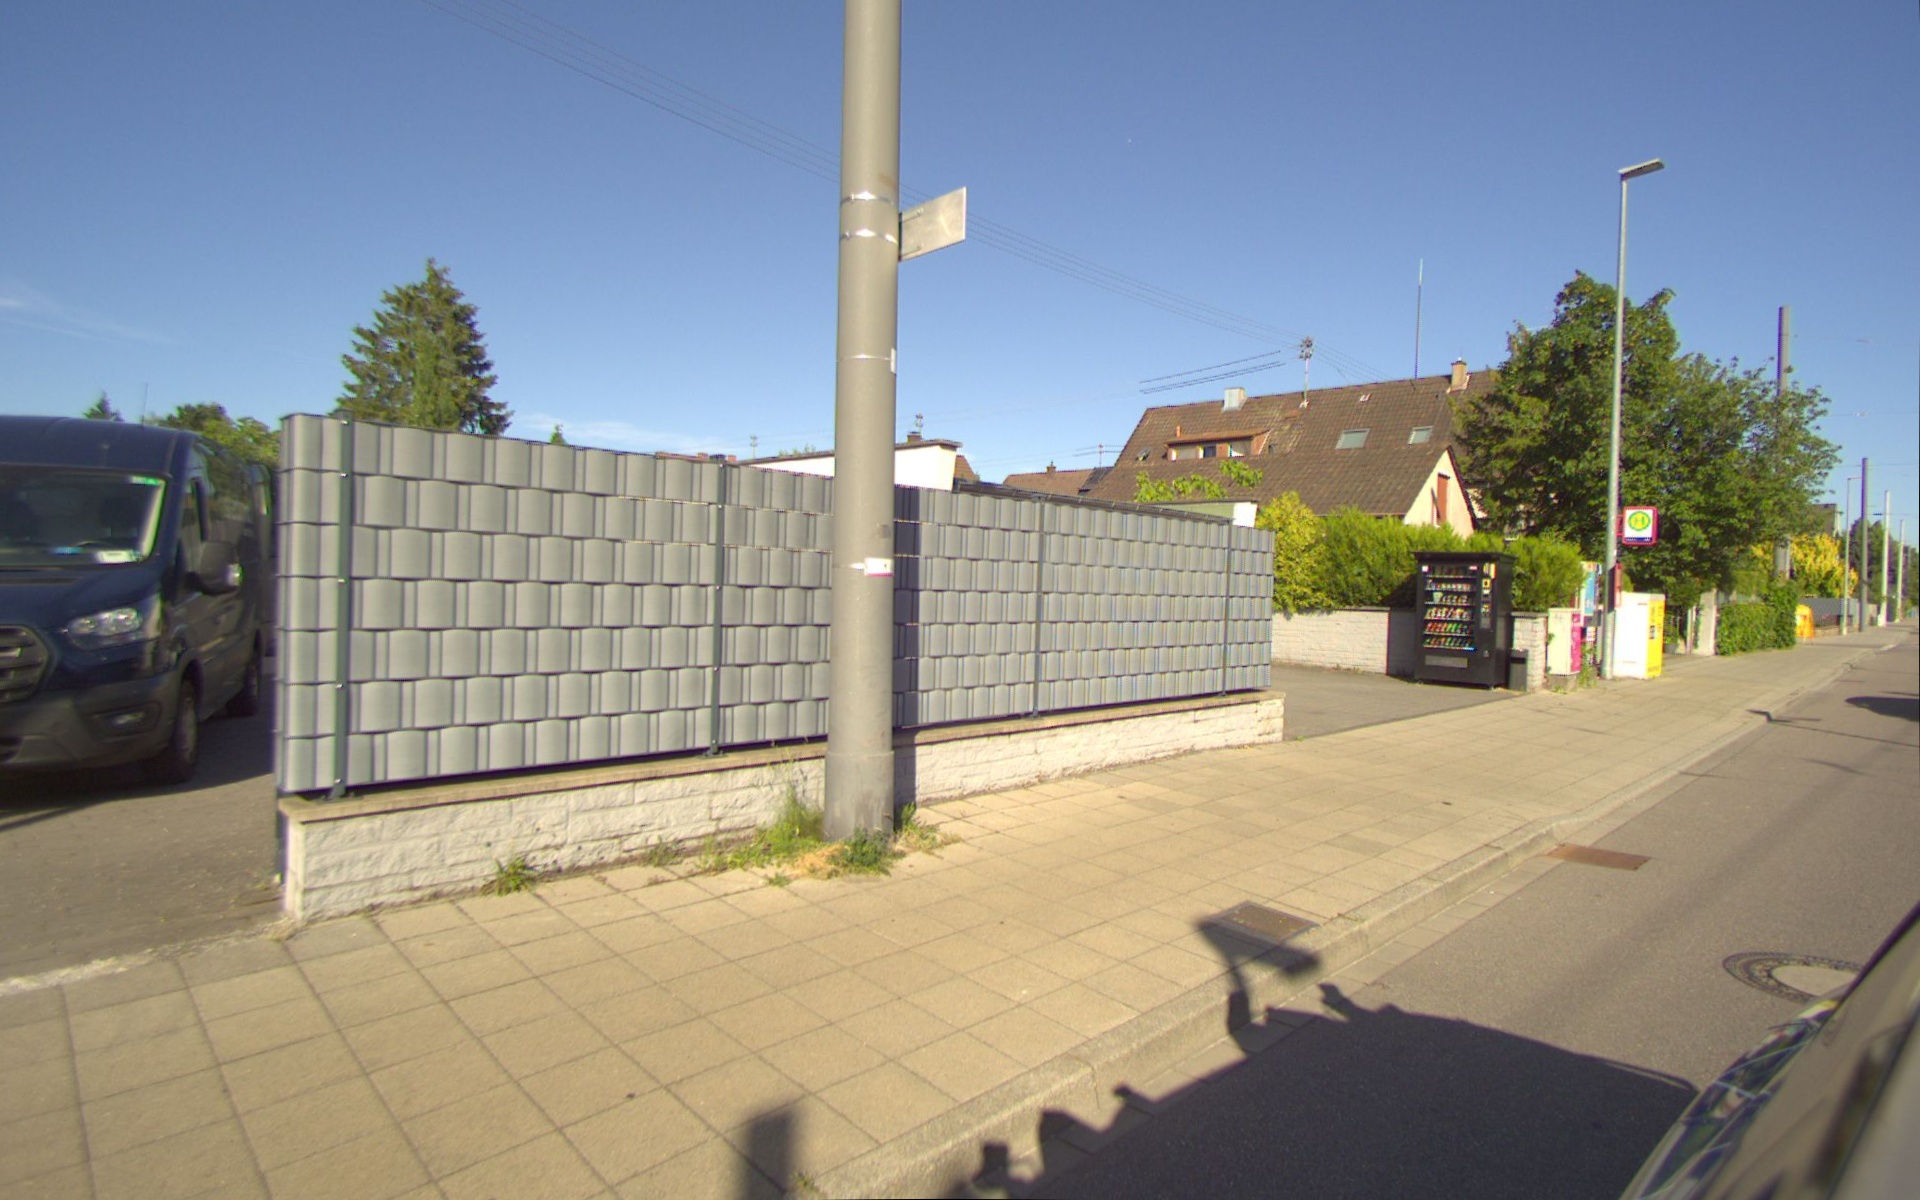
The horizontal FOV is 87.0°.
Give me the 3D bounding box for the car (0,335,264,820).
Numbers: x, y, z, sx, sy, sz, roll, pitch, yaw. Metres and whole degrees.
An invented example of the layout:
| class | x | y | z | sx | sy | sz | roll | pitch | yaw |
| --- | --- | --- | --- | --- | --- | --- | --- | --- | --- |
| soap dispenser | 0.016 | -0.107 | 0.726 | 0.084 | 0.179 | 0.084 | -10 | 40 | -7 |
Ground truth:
| class | x | y | z | sx | sy | sz | roll | pitch | yaw |
| --- | --- | --- | --- | --- | --- | --- | --- | --- | --- |
| car | -6.383 | -0.170 | 7.160 | 1.960 | 2.461 | 4.999 | -1 | 2 | -30 |
